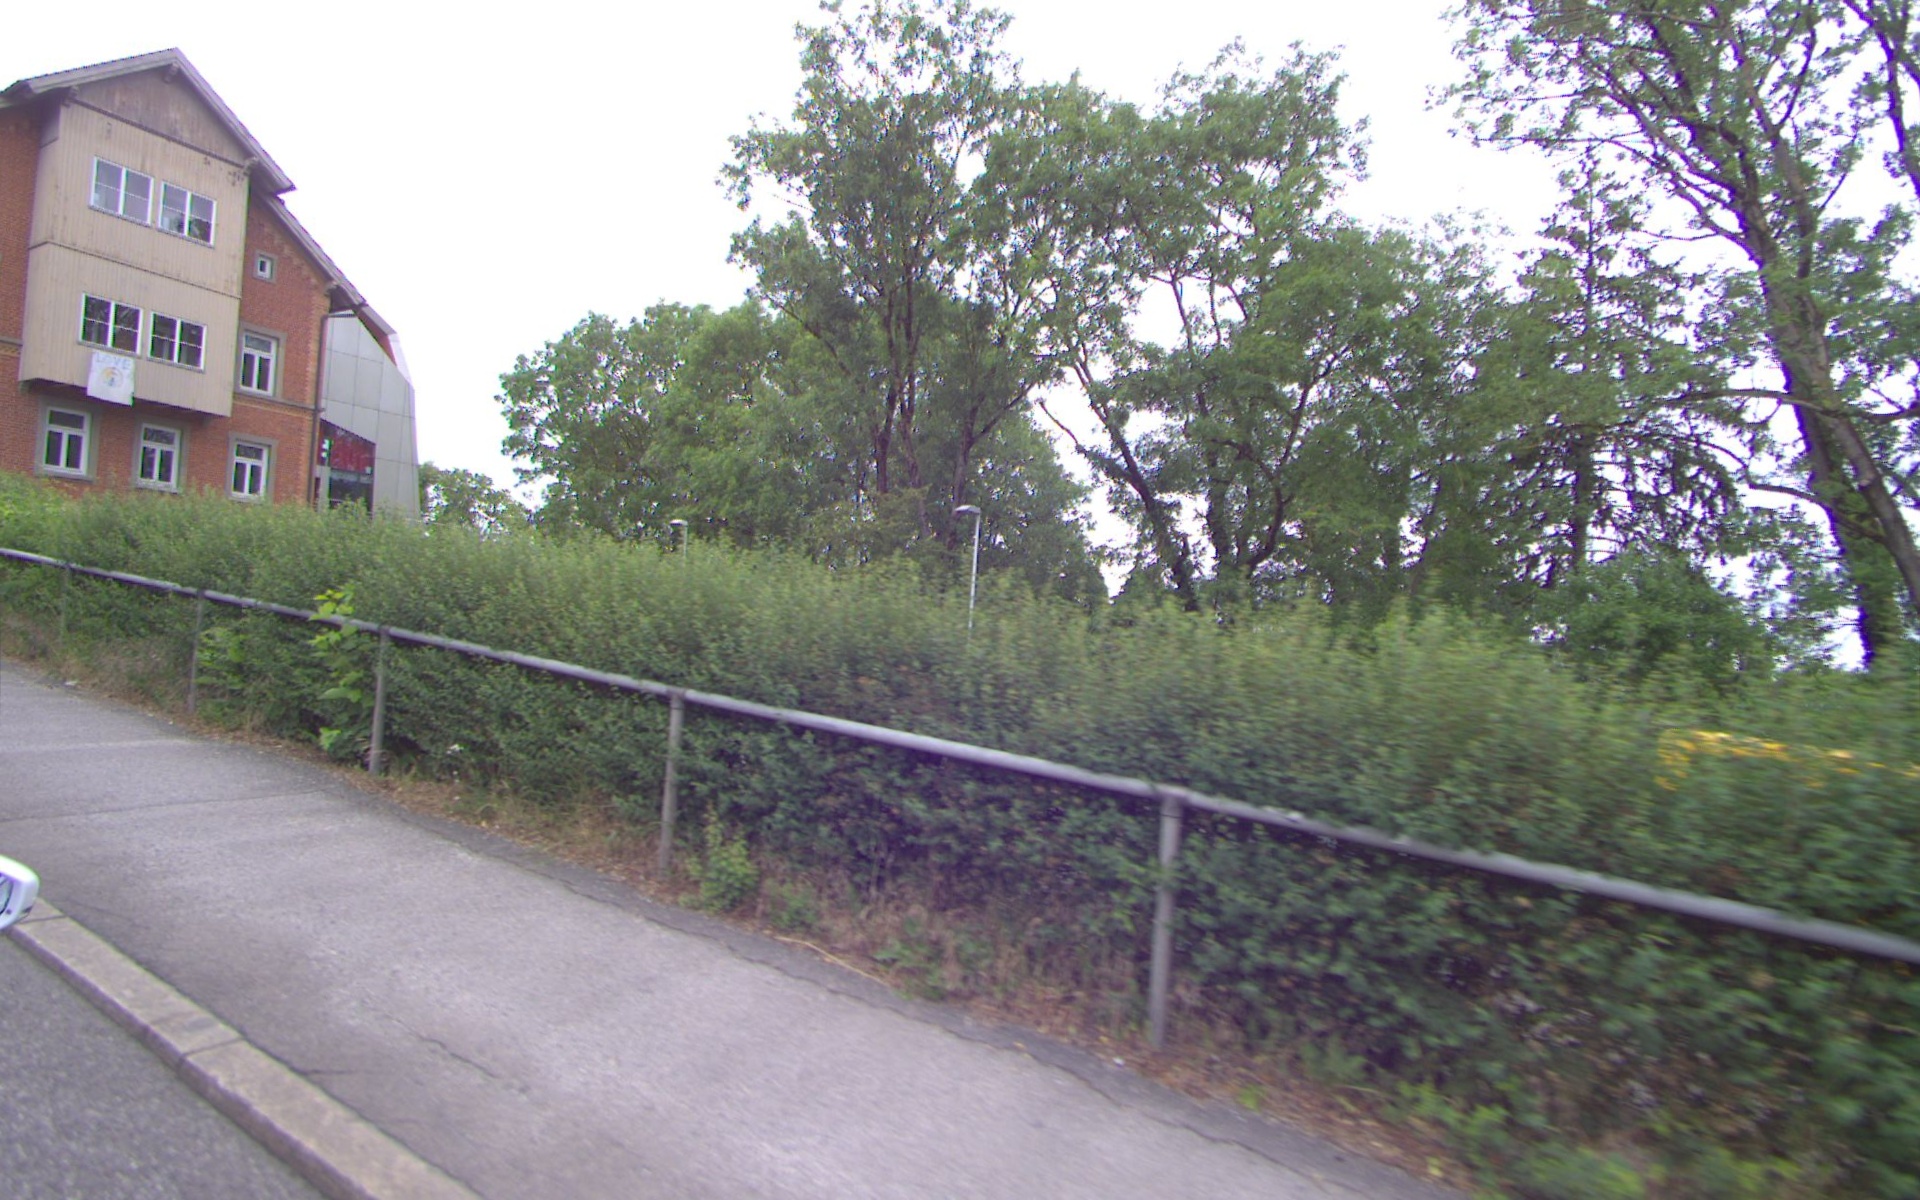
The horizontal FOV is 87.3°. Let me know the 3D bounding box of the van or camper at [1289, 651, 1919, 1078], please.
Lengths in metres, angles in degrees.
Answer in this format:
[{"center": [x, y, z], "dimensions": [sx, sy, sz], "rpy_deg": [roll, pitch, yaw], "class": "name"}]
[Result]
[{"center": [6.291, 2.013, 8.535], "dimensions": [6.093, 2.359, 2.212], "rpy_deg": [7, 1, 42], "class": "van or camper"}]
